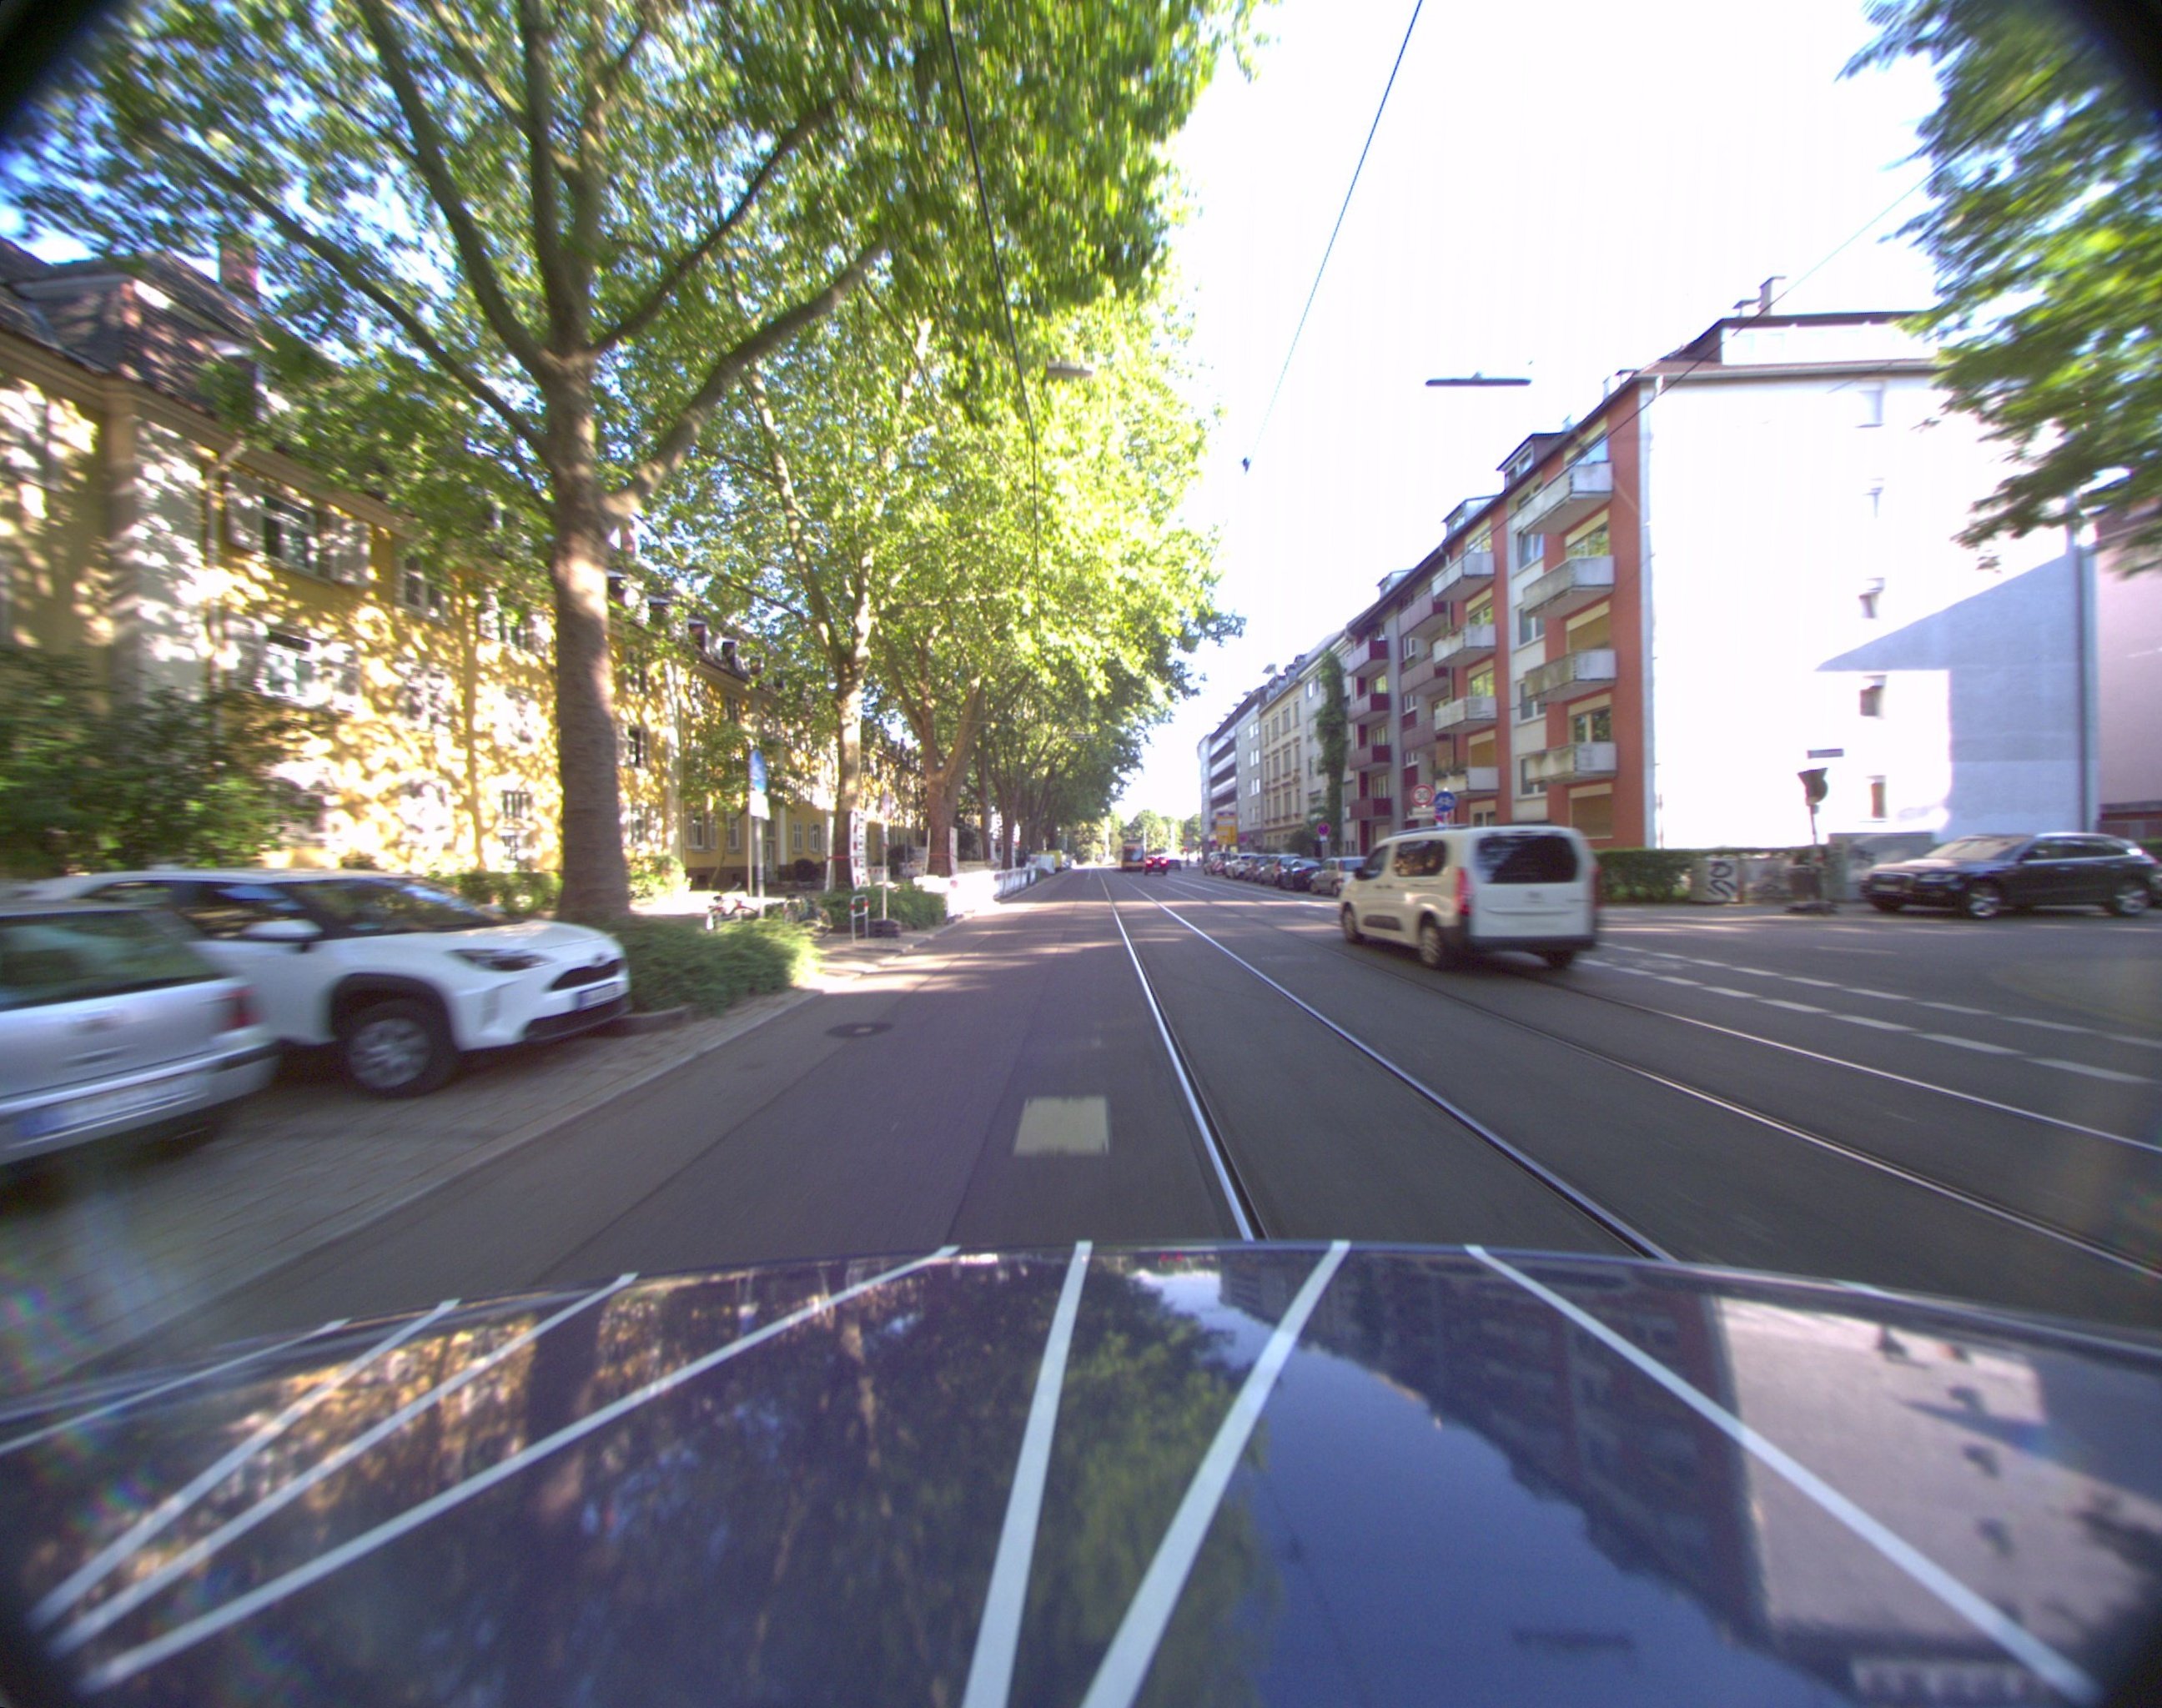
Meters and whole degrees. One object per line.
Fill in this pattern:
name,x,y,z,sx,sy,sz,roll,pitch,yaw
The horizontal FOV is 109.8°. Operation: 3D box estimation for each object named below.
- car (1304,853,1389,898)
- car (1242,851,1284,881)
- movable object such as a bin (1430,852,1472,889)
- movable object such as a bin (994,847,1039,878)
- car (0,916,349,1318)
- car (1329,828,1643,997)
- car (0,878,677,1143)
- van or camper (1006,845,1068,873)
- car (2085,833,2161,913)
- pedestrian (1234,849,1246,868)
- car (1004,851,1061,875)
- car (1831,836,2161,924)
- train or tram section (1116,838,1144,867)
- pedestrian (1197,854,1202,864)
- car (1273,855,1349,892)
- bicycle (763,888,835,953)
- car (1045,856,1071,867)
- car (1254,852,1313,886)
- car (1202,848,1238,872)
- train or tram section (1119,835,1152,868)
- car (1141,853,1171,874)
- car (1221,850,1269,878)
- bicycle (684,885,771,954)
car,9.810,0.734,28.422,1.729,1.474,3.930,-4,0,0
car,10.416,0.675,43.726,1.630,1.563,3.781,-3,1,2
movable object such as a bin,13.923,0.620,28.581,1.214,1.357,0.747,-1,1,3
movable object such as a bin,-4.786,0.600,56.708,1.482,2.256,3.283,-1,0,35
car,-6.015,1.090,3.383,3.852,1.424,1.852,-1,0,5
car,5.249,0.641,10.799,1.896,1.821,4.895,-1,0,1
car,-5.614,1.017,5.693,4.098,1.512,1.916,-1,1,0
van or camper,-4.351,0.501,76.455,5.939,2.614,2.270,-1,1,3
car,24.289,0.359,15.726,4.318,1.597,1.937,-1,2,1
pedestrian,15.278,0.446,73.046,0.866,1.774,0.736,-3,0,0
car,-4.262,0.767,66.868,4.846,2.001,2.063,-1,0,1
car,18.661,0.484,15.605,4.544,1.597,1.937,-1,2,1
train or tram section,6.381,-0.199,100.923,2.915,3.465,13.370,-1,0,1
pedestrian,20.021,0.801,128.433,0.716,1.664,0.905,-1,0,9
car,10.065,0.806,33.612,1.957,1.387,4.863,-4,0,2
bicycle,-5.299,1.215,14.397,0.637,1.064,1.809,-1,0,1
car,-3.471,1.116,113.658,3.891,1.488,1.741,0,0,-2
car,10.291,0.706,38.854,1.824,1.577,4.005,-2,0,-1
car,10.913,0.480,60.077,1.793,1.760,4.470,-3,0,-2
train or tram section,6.140,-0.235,87.173,2.915,3.465,14.198,-1,0,1
car,6.417,0.788,65.393,1.858,1.591,4.462,-3,1,-3
car,10.512,0.611,49.027,1.957,1.639,4.881,-3,0,0
bicycle,-6.708,1.205,14.543,0.692,1.147,1.949,-1,0,1
